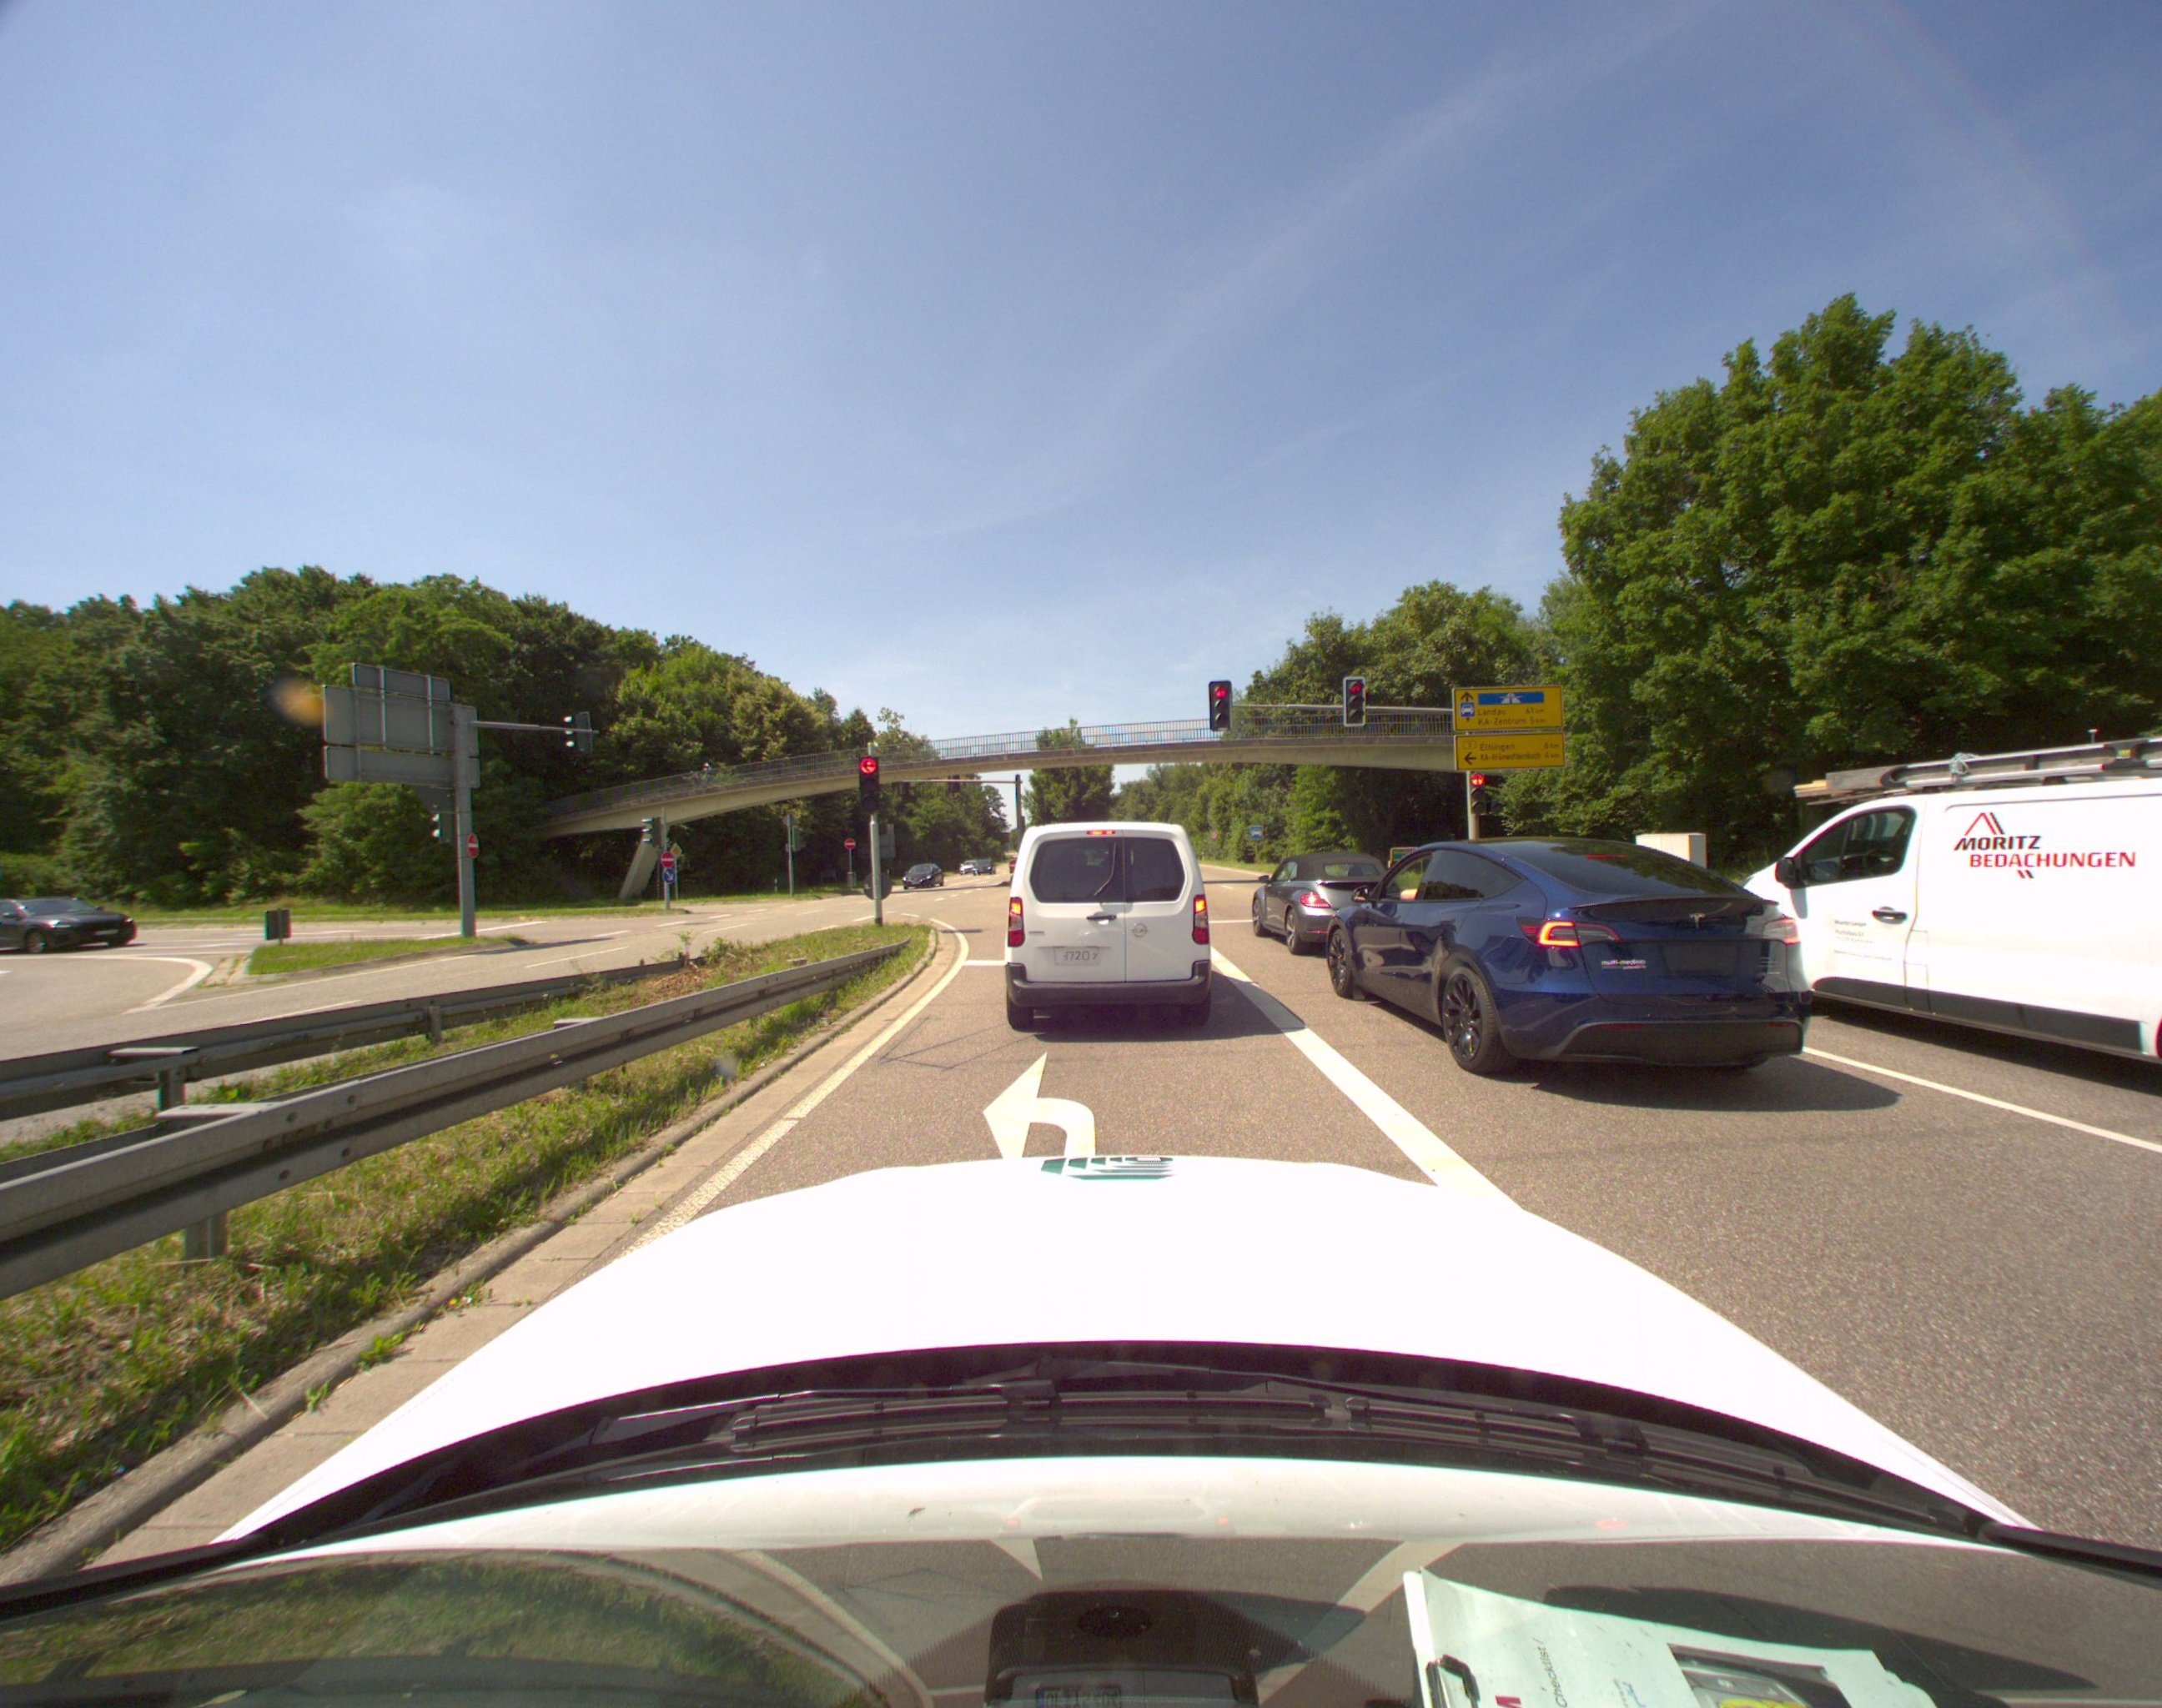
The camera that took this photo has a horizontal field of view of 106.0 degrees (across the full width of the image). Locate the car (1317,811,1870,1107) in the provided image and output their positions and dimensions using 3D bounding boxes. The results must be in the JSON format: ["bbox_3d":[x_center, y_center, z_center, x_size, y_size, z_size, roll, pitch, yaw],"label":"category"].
[{"bbox_3d":[3.518,0.581,6.820,1.893,1.644,4.522,-1,0,2],"label":"car"}]

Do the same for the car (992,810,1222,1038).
[{"bbox_3d":[0.246,0.541,8.564,1.843,1.825,3.982,-1,1,1],"label":"car"}]

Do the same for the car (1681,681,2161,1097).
[{"bbox_3d":[7.092,0.190,5.834,1.925,2.349,5.076,-1,0,1],"label":"car"}]

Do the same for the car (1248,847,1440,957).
[{"bbox_3d":[3.966,0.639,13.017,1.893,1.478,3.940,-1,0,2],"label":"car"}]

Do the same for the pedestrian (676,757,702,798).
[{"bbox_3d":[-21.758,-4.245,45.169,0.776,2.139,0.936,-4,-2,17],"label":"pedestrian"}]

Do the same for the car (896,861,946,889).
[{"bbox_3d":[-9.653,1.219,49.376,2.001,1.460,4.057,-3,0,2],"label":"car"}]

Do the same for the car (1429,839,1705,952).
[{"bbox_3d":[7.378,0.544,12.990,1.893,1.478,4.382,-1,0,2],"label":"car"}]

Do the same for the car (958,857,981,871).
[{"bbox_3d":[-12.082,1.085,88.397,1.746,1.406,4.002,-3,0,2],"label":"car"}]

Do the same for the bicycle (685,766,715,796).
[{"bbox_3d":[-20.907,-4.022,44.692,1.514,1.474,0.472,-4,-2,17],"label":"bicycle"}]

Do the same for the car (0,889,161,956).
[{"bbox_3d":[-32.318,2.161,25.498,5.041,1.698,2.054,-3,3,8],"label":"car"}]

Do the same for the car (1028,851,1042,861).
[{"bbox_3d":[-8.226,0.337,146.236,1.986,1.665,4.002,-3,0,2],"label":"car"}]

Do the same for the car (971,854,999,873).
[{"bbox_3d":[-9.134,0.926,77.972,1.986,1.665,4.002,-3,0,2],"label":"car"}]
